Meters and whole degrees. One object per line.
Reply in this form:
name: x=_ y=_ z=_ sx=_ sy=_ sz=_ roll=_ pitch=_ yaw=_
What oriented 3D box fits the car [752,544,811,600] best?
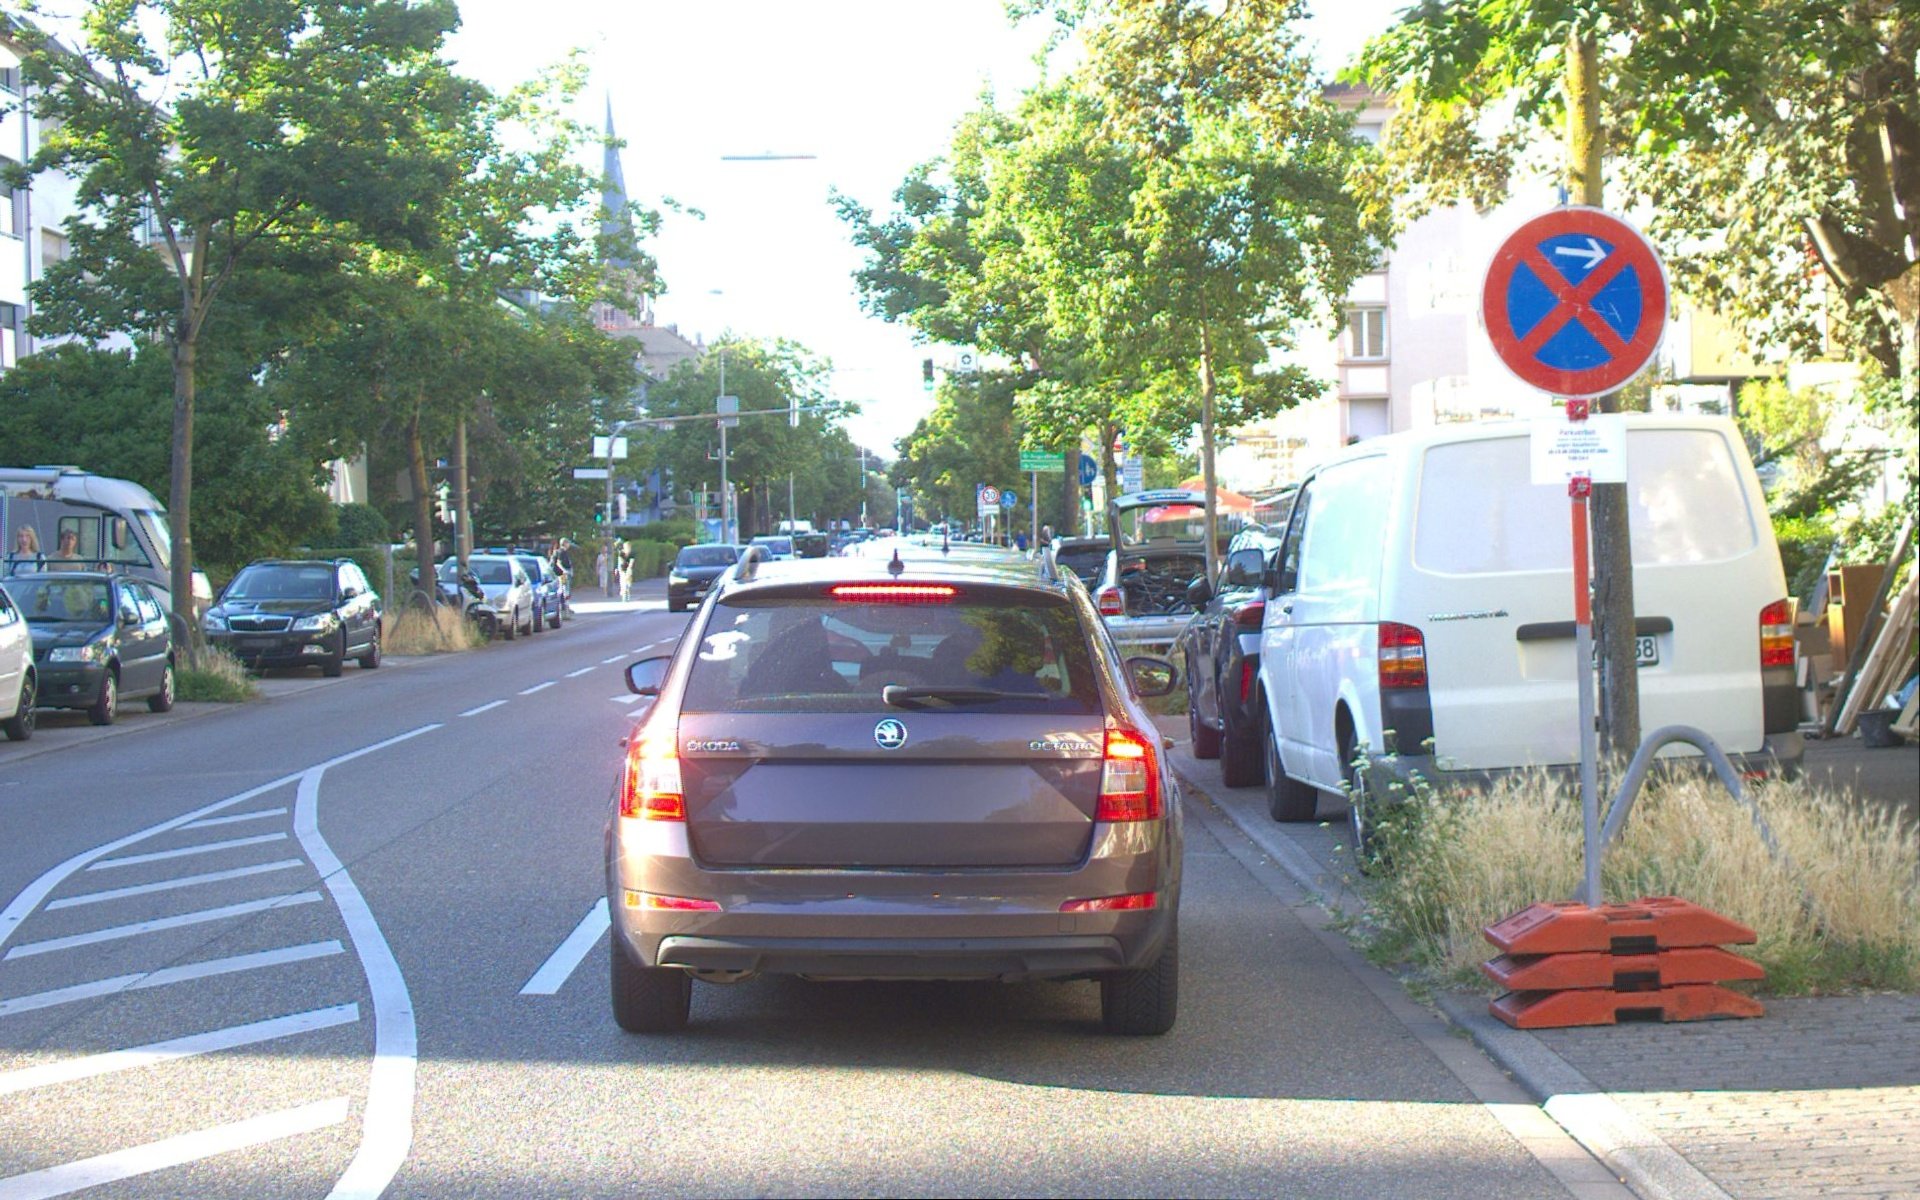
car: x=-6.150 y=-0.991 z=118.920 sx=1.805 sy=1.798 sz=4.746 roll=-3 pitch=1 yaw=-1

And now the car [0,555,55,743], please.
car: x=-8.579 y=0.413 z=27.777 sx=1.593 sy=1.518 sz=3.891 roll=-1 pitch=1 yaw=-2

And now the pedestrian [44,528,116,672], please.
pedestrian: x=-11.083 y=-0.001 z=43.311 sx=0.713 sy=1.786 sz=0.572 roll=-1 pitch=1 yaw=2

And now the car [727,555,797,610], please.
car: x=-5.821 y=-0.528 z=101.262 sx=1.760 sy=1.447 sz=4.534 roll=-3 pitch=1 yaw=0

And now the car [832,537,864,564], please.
car: x=-6.890 y=-3.053 z=211.559 sx=1.830 sy=1.574 sz=4.000 roll=-1 pitch=1 yaw=0

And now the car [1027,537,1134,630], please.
car: x=2.036 y=-0.312 z=58.512 sx=1.703 sy=1.445 sz=4.013 roll=-3 pitch=1 yaw=2

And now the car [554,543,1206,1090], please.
car: x=-0.256 y=0.555 z=11.535 sx=1.773 sy=1.484 sz=4.311 roll=0 pitch=1 yaw=-1

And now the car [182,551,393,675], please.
car: x=-8.644 y=0.124 z=44.535 sx=1.867 sy=1.489 sz=4.517 roll=1 pitch=1 yaw=0

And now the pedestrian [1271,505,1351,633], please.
pedestrian: x=4.550 y=-0.399 z=44.576 sx=0.757 sy=1.634 sz=0.694 roll=-1 pitch=1 yaw=36

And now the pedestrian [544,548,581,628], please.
pedestrian: x=-10.046 y=-0.308 z=86.856 sx=0.780 sy=1.981 sz=0.821 roll=-1 pitch=1 yaw=0

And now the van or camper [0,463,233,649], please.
van or camper: x=-15.004 y=-0.737 z=53.635 sx=6.797 sy=2.763 sz=2.352 roll=1 pitch=1 yaw=-1

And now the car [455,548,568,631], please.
car: x=-8.555 y=-0.229 z=65.896 sx=1.648 sy=1.512 sz=4.074 roll=0 pitch=1 yaw=0

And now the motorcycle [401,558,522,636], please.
motorcycle: x=-8.356 y=-0.045 z=57.558 sx=2.052 sy=1.260 sz=0.765 roll=-1 pitch=1 yaw=38

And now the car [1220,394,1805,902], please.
car: x=2.491 y=0.160 z=16.694 sx=1.903 sy=2.096 sz=4.641 roll=-1 pitch=1 yaw=-2

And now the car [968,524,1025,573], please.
car: x=1.375 y=-1.935 z=127.903 sx=1.994 sy=1.766 sz=4.000 roll=1 pitch=1 yaw=2

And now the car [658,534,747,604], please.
car: x=-6.195 y=-0.756 z=82.982 sx=1.835 sy=1.565 sz=4.000 roll=-3 pitch=1 yaw=-1

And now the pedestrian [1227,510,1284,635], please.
pedestrian: x=4.233 y=-0.398 z=49.320 sx=0.662 sy=1.743 sz=0.772 roll=-3 pitch=1 yaw=-1

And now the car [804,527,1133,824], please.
car: x=0.056 y=0.370 z=20.448 sx=1.737 sy=1.565 sz=4.000 roll=1 pitch=1 yaw=0

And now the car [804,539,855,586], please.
car: x=-5.675 y=-1.653 z=149.959 sx=1.993 sy=1.902 sz=4.964 roll=-3 pitch=1 yaw=-1

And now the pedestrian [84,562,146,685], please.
pedestrian: x=-10.403 y=0.281 z=42.326 sx=0.590 sy=1.490 sz=0.542 roll=-1 pitch=1 yaw=2

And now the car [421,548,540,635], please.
car: x=-8.515 y=-0.181 z=61.266 sx=1.593 sy=1.465 sz=3.804 roll=1 pitch=1 yaw=0

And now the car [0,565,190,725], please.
car: x=-8.461 y=0.385 z=32.547 sx=1.543 sy=1.392 sz=3.666 roll=-1 pitch=1 yaw=-1

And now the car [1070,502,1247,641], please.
car: x=2.290 y=-0.356 z=40.536 sx=1.708 sy=1.475 sz=4.269 roll=-3 pitch=1 yaw=-1

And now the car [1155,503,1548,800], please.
car: x=2.375 y=0.255 z=21.907 sx=1.855 sy=1.598 sz=4.312 roll=-3 pitch=1 yaw=-1

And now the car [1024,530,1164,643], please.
car: x=2.021 y=-0.235 z=52.824 sx=1.855 sy=1.576 sz=4.014 roll=-3 pitch=1 yaw=-1

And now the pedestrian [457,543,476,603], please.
pedestrian: x=-14.685 y=-0.805 z=102.362 sx=0.449 sy=1.791 sz=0.504 roll=-1 pitch=1 yaw=0

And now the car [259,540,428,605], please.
car: x=-18.194 y=-0.822 z=101.602 sx=4.634 sy=1.805 sz=1.862 roll=-1 pitch=1 yaw=-1

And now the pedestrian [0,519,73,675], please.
pedestrian: x=-10.746 y=-0.042 z=39.904 sx=0.713 sy=1.786 sz=0.506 roll=-1 pitch=1 yaw=2
